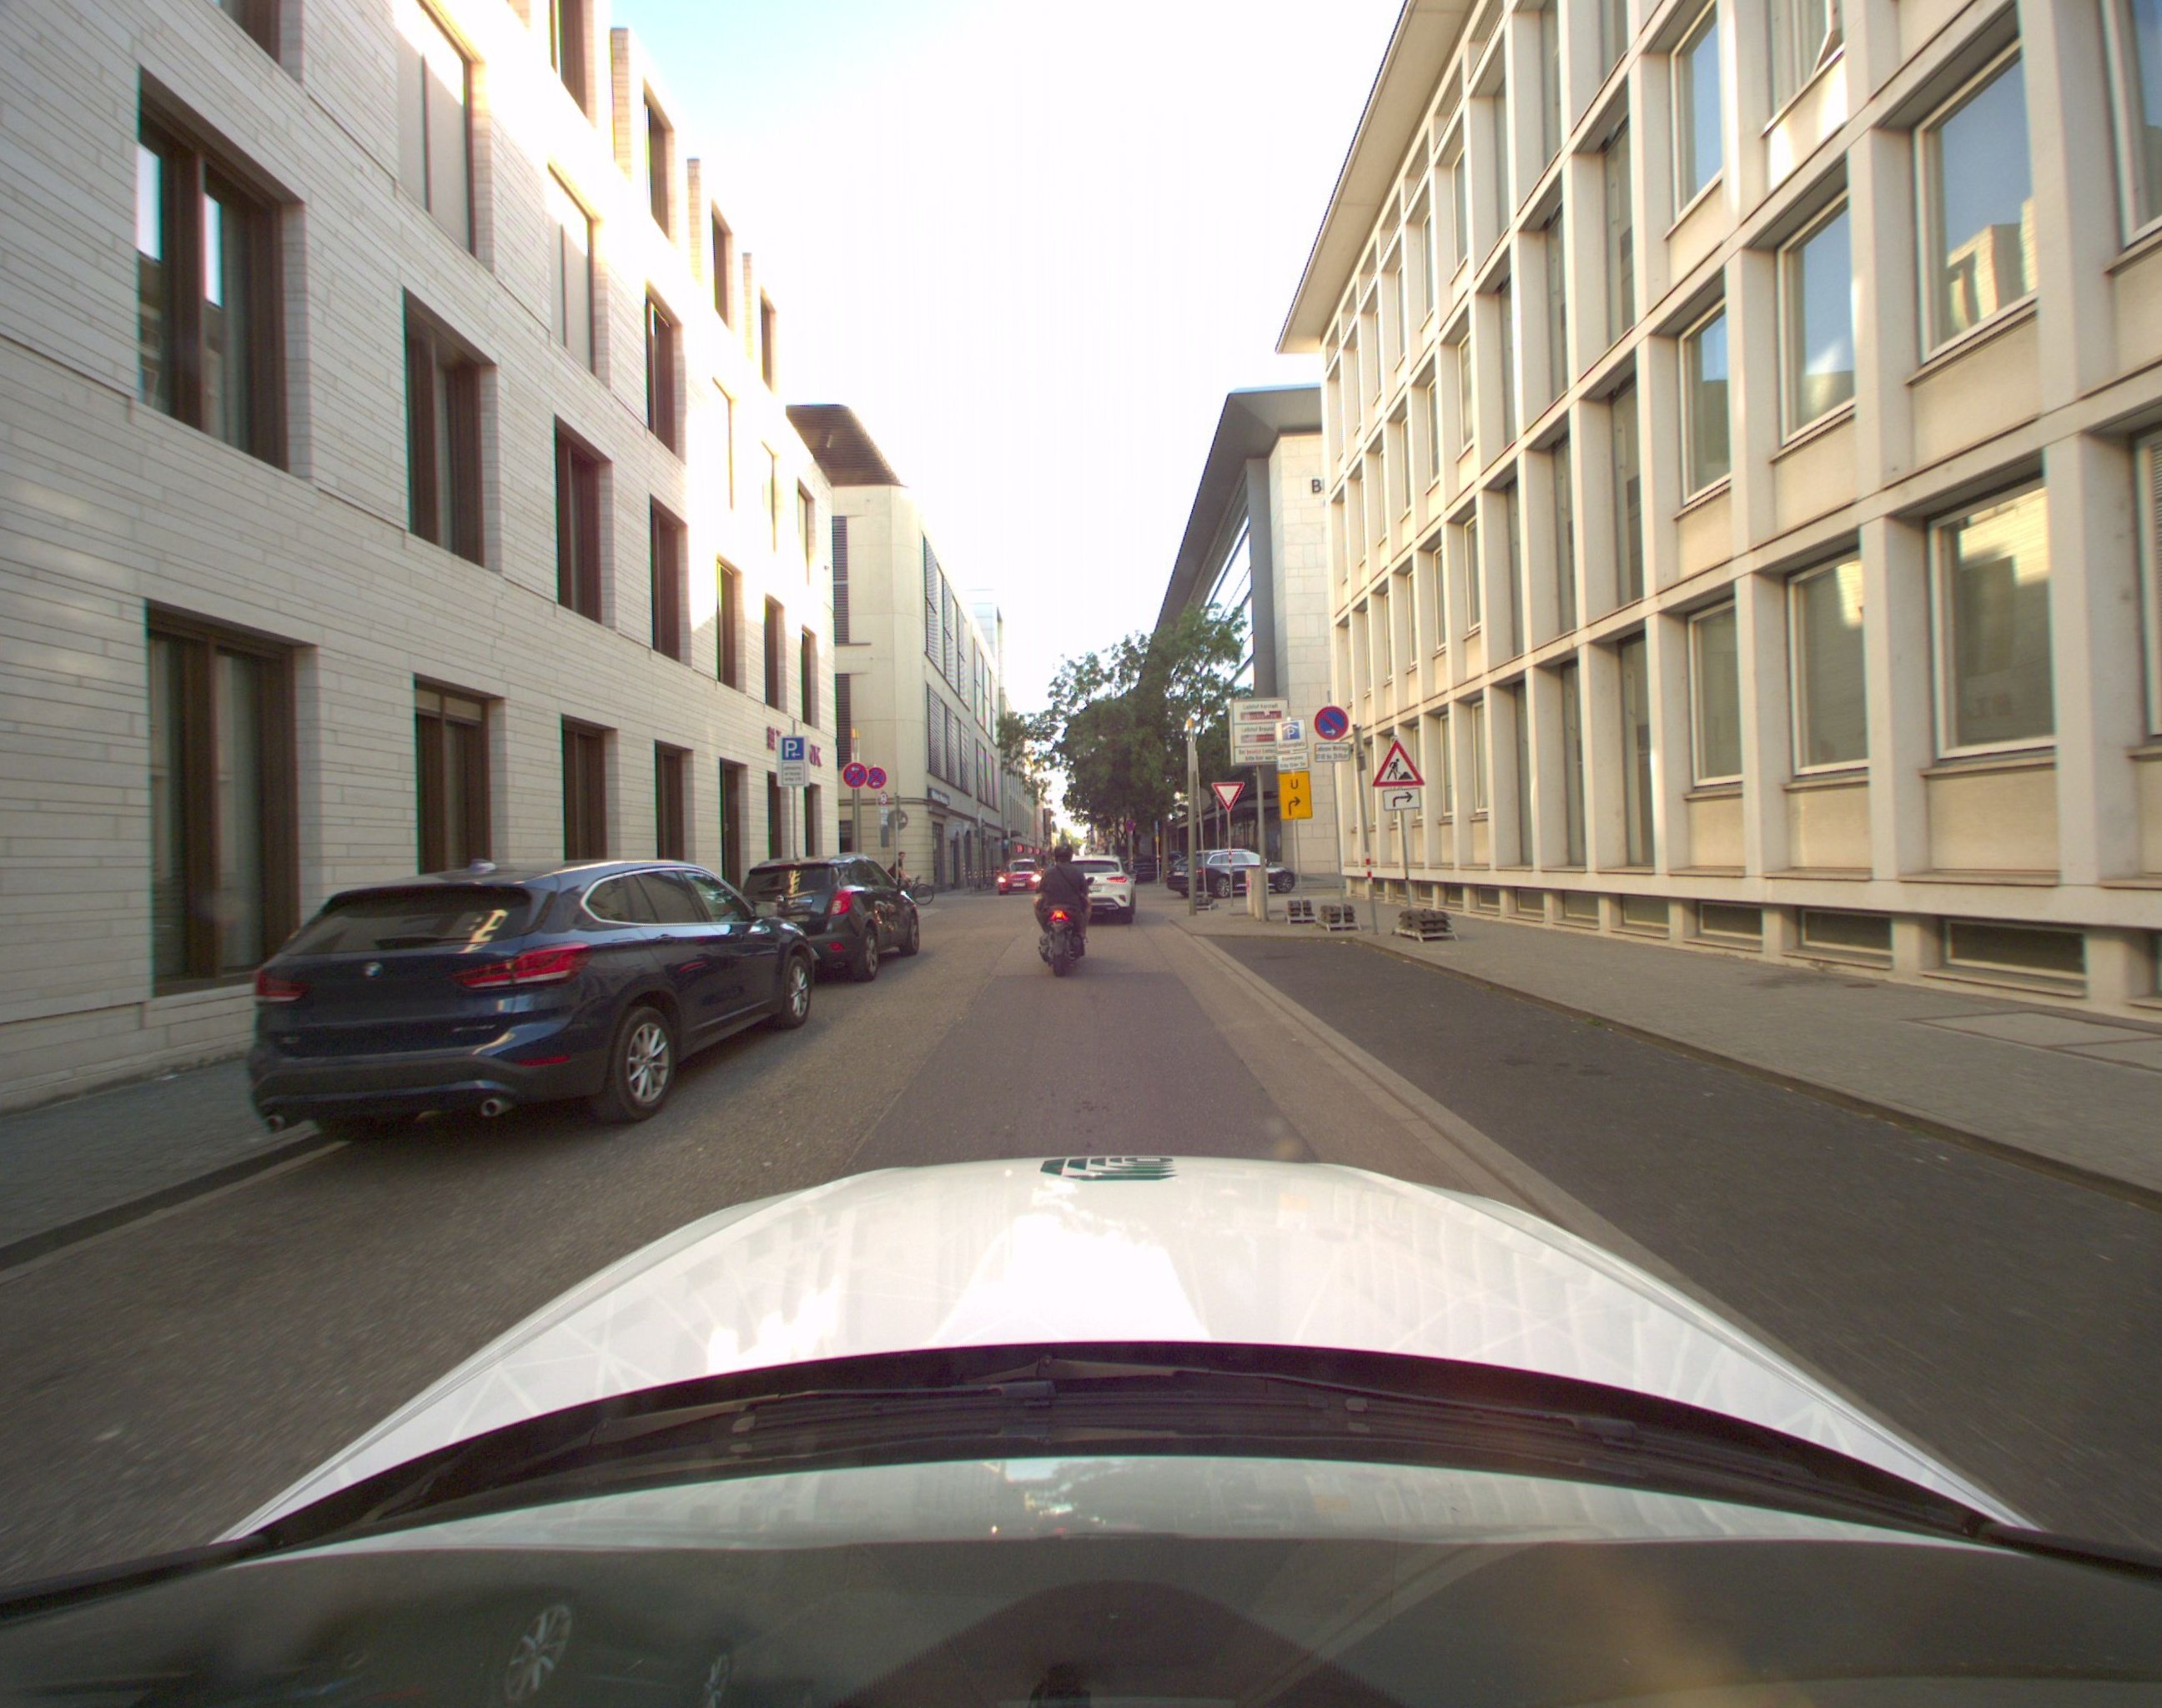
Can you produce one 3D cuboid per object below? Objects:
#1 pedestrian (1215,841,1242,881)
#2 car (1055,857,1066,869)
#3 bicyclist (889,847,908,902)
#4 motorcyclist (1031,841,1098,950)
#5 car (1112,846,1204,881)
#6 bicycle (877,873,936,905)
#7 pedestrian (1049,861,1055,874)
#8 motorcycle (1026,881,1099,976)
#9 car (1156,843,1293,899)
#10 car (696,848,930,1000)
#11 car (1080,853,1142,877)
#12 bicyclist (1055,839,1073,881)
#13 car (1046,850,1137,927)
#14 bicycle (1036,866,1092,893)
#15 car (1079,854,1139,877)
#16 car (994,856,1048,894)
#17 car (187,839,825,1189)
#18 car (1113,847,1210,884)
[{"bbox_3d":[6.504,0.304,35.969,0.902,1.706,0.834,-5,-1,1],"label":"pedestrian"},{"bbox_3d":[-4.001,1.658,156.868,1.988,2.329,5.016,0,0,-2],"label":"car"},{"bbox_3d":[-5.887,0.647,26.232,0.550,1.732,0.500,-1,-1,-10],"label":"bicyclist"},{"bbox_3d":[-0.213,0.552,10.977,0.864,1.427,0.455,-1,-1,1],"label":"motorcyclist"},{"bbox_3d":[4.377,0.570,46.868,4.993,1.499,1.998,-6,-1,-3],"label":"car"},{"bbox_3d":[-5.612,1.121,26.269,1.814,0.973,0.509,-1,-1,-10],"label":"bicycle"},{"bbox_3d":[-3.391,1.565,95.024,0.729,1.574,0.636,-1,-1,0],"label":"pedestrian"},{"bbox_3d":[-0.207,0.939,10.890,0.869,1.109,1.840,-1,-1,1],"label":"motorcycle"},{"bbox_3d":[4.697,0.507,26.355,4.384,1.541,1.808,-3,1,-36],"label":"car"},{"bbox_3d":[-3.564,0.811,11.757,1.816,1.677,4.264,-4,0,1],"label":"car"},{"bbox_3d":[2.456,0.946,68.611,4.993,1.499,1.998,-6,-1,-3],"label":"car"},{"bbox_3d":[-0.646,0.235,31.421,0.629,1.625,0.497,-1,-1,-7],"label":"bicyclist"},{"bbox_3d":[0.194,0.702,18.942,1.817,1.541,4.262,-2,0,-1],"label":"car"},{"bbox_3d":[-0.649,0.977,31.411,2.099,0.995,0.517,-1,-1,-6],"label":"bicycle"},{"bbox_3d":[2.398,0.974,71.145,4.993,1.499,1.998,-6,-1,-3],"label":"car"},{"bbox_3d":[-2.523,0.937,35.427,1.815,1.465,4.265,-2,-2,2],"label":"car"},{"bbox_3d":[-3.465,0.772,6.075,1.734,1.594,4.152,-4,0,-1],"label":"car"},{"bbox_3d":[4.331,0.628,44.381,4.993,1.451,1.998,-6,-1,-3],"label":"car"}]
